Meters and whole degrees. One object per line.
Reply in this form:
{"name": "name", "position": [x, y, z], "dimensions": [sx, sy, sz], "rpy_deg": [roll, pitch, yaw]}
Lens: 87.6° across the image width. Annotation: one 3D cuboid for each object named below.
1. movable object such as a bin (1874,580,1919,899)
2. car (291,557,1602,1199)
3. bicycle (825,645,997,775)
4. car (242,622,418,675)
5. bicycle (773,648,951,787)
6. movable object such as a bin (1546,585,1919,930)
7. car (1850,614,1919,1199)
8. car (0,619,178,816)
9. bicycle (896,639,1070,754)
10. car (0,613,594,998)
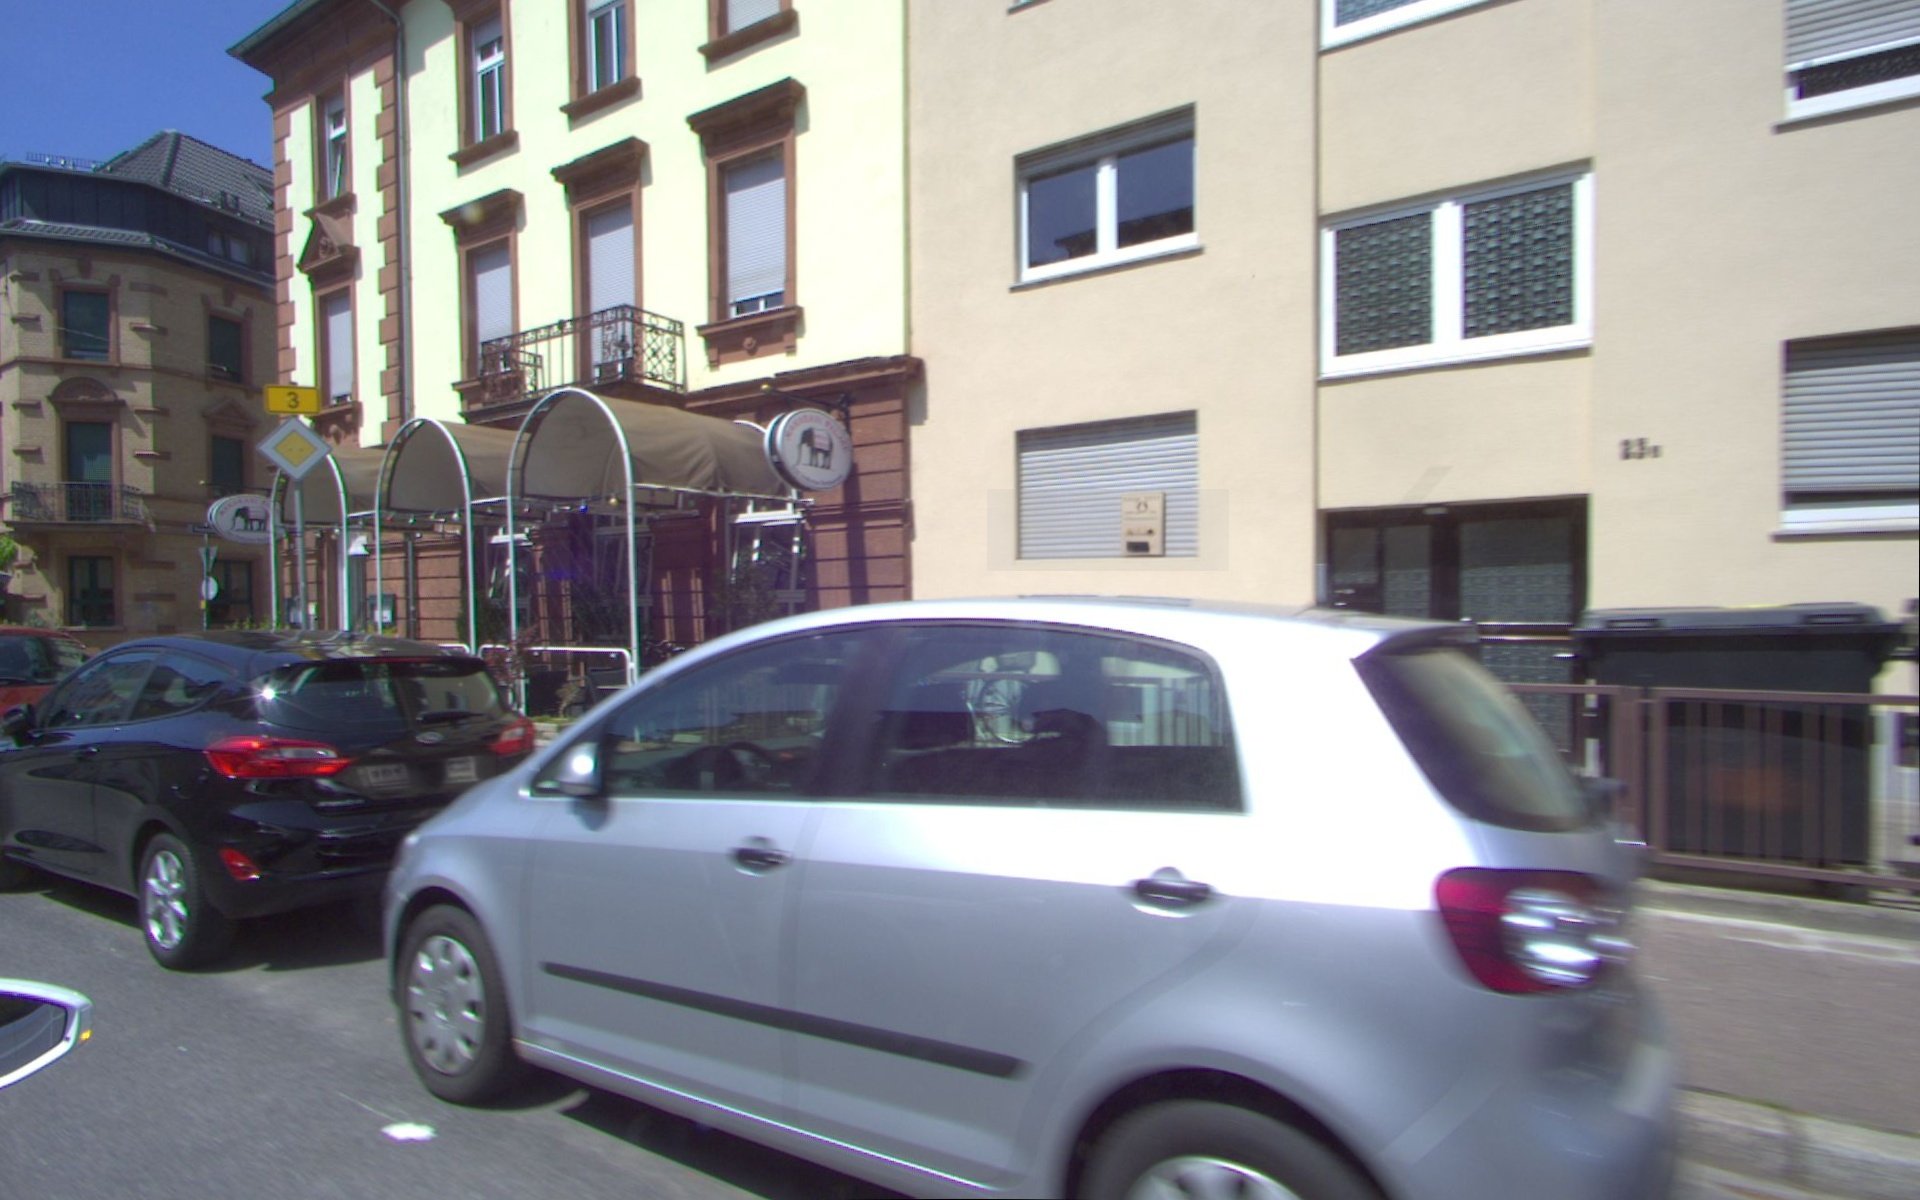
{"name": "movable object such as a bin", "position": [4.931, 0.614, 4.246], "dimensions": [1.345, 1.414, 1.279], "rpy_deg": [0, 0, 33]}
{"name": "car", "position": [-0.274, 0.785, 3.292], "dimensions": [4.009, 1.571, 1.754], "rpy_deg": [-1, -3, 33]}
{"name": "bicycle", "position": [-0.456, 0.912, 8.748], "dimensions": [1.612, 0.996, 0.548], "rpy_deg": [0, 0, 44]}
{"name": "car", "position": [-18.128, 1.338, 29.035], "dimensions": [1.883, 1.382, 3.991], "rpy_deg": [0, -1, 21]}
{"name": "bicycle", "position": [-0.841, 0.917, 8.275], "dimensions": [1.612, 0.996, 0.548], "rpy_deg": [0, 0, 44]}
{"name": "movable object such as a bin", "position": [3.745, 0.651, 4.982], "dimensions": [1.393, 1.414, 1.279], "rpy_deg": [0, 0, 33]}
{"name": "car", "position": [3.552, 0.750, 0.893], "dimensions": [3.876, 1.497, 1.754], "rpy_deg": [-1, -3, 33]}
{"name": "car", "position": [-8.822, 0.922, 8.787], "dimensions": [3.726, 1.497, 1.757], "rpy_deg": [0, -3, 29]}
{"name": "bicycle", "position": [0.209, 0.889, 9.601], "dimensions": [1.604, 0.996, 0.550], "rpy_deg": [0, 0, 28]}
{"name": "car", "position": [-4.076, 0.862, 5.721], "dimensions": [3.876, 1.497, 1.754], "rpy_deg": [-1, -3, 33]}
